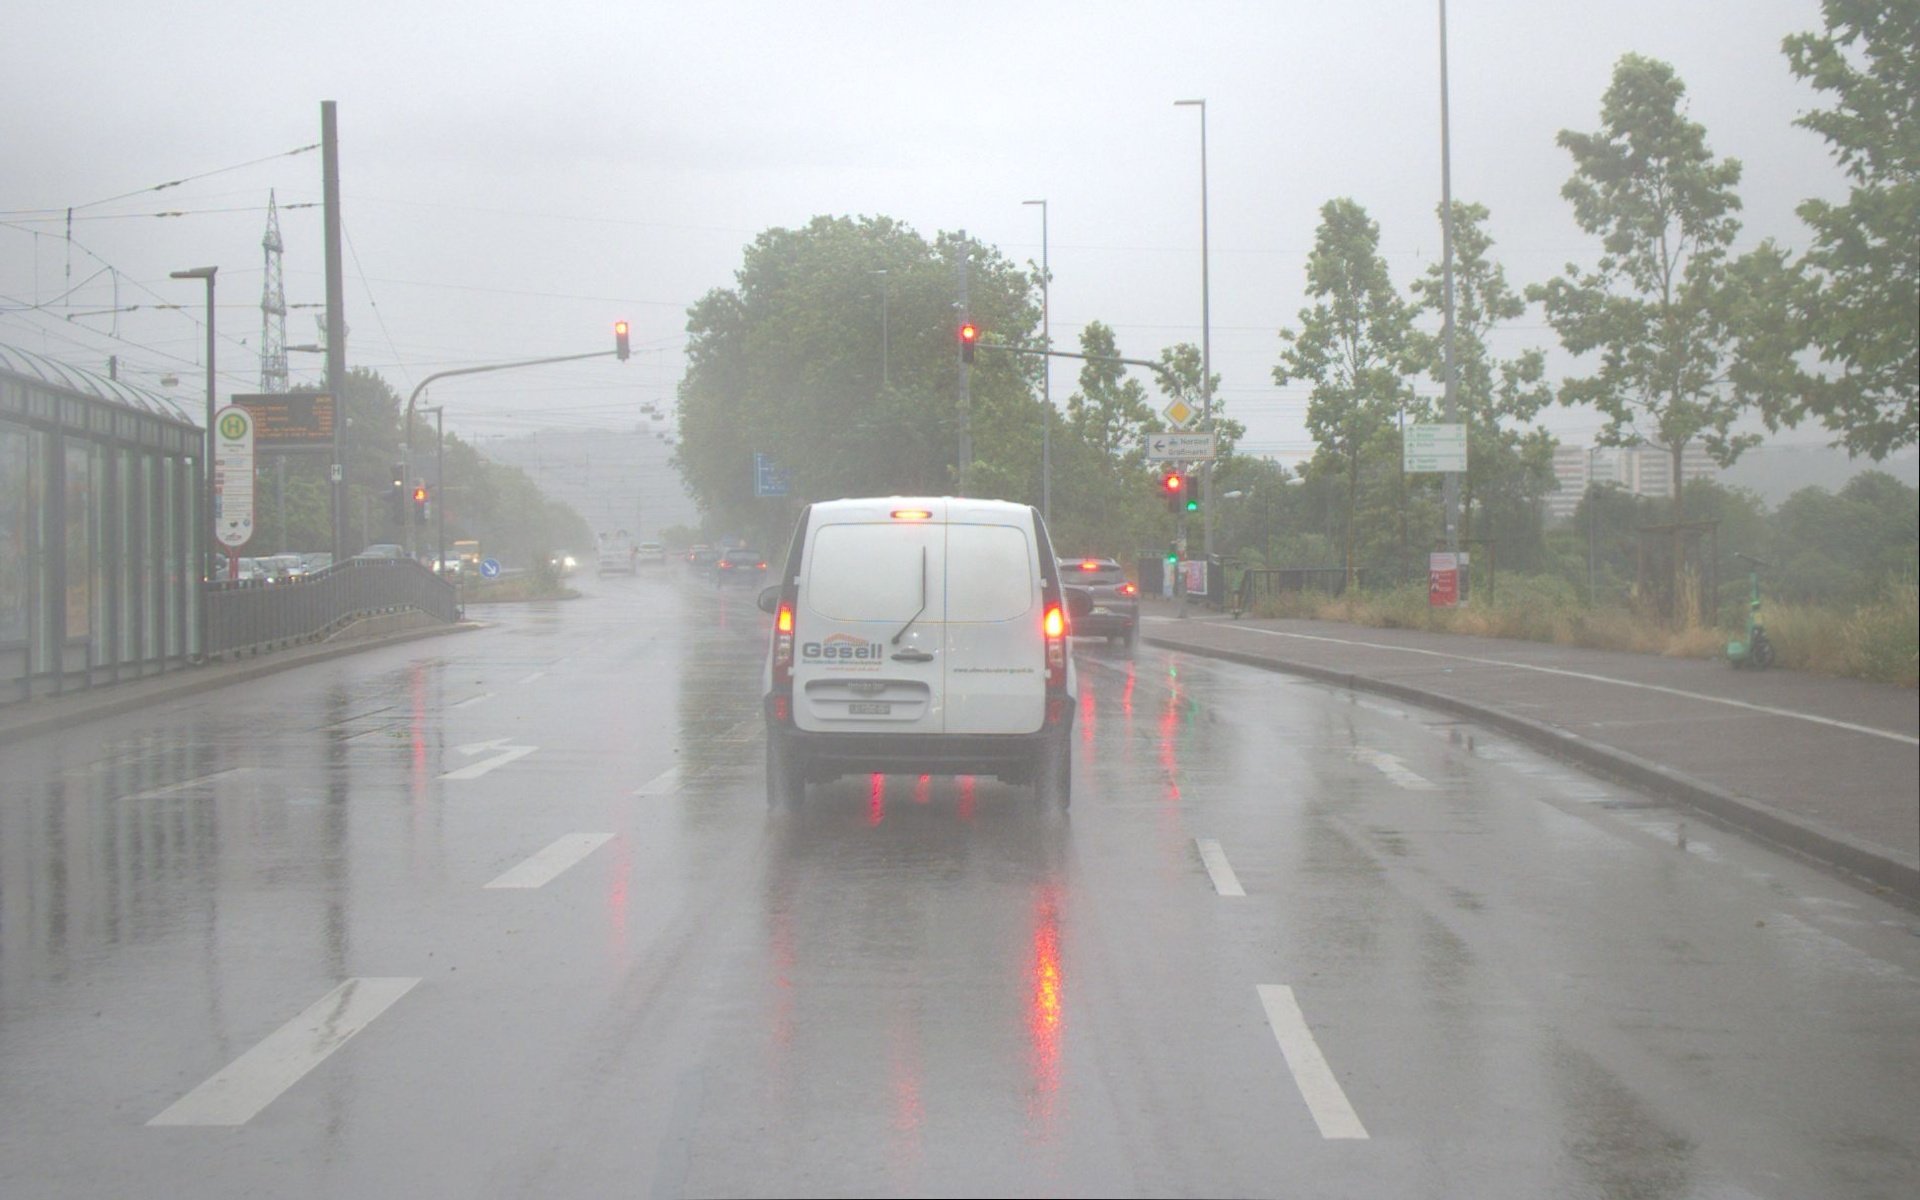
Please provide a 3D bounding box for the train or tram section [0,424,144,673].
[{"bbox_3d":[-17.335,-0.855,54.526,3.770,4.023,27.096,1,0,-3],"label":"train or tram section"}]

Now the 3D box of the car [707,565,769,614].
[{"bbox_3d":[-8.203,-0.412,126.705,1.993,1.744,4.001,1,0,-7],"label":"car"}]

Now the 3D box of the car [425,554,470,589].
[{"bbox_3d":[-30.447,-1.674,204.489,1.993,2.007,4.000,1,0,1],"label":"car"}]

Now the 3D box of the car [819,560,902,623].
[{"bbox_3d":[-2.942,-0.267,100.700,1.993,1.744,4.001,1,0,-7],"label":"car"}]

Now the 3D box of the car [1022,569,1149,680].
[{"bbox_3d":[2.063,0.374,57.562,1.993,1.744,4.000,1,0,1],"label":"car"}]

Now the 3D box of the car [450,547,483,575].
[{"bbox_3d":[-35.795,-2.840,249.576,1.993,2.007,4.001,1,0,-3],"label":"car"}]

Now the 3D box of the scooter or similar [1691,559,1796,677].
[{"bbox_3d":[8.162,0.174,35.857,0.642,1.191,1.563,-1,1,-4],"label":"scooter or similar"}]

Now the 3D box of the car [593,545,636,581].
[{"bbox_3d":[-17.383,-1.881,172.857,1.993,1.744,4.001,1,0,-7],"label":"car"}]

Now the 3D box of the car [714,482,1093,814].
[{"bbox_3d":[-0.297,0.244,20.877,2.025,1.769,4.274,1,0,0],"label":"car"}]
